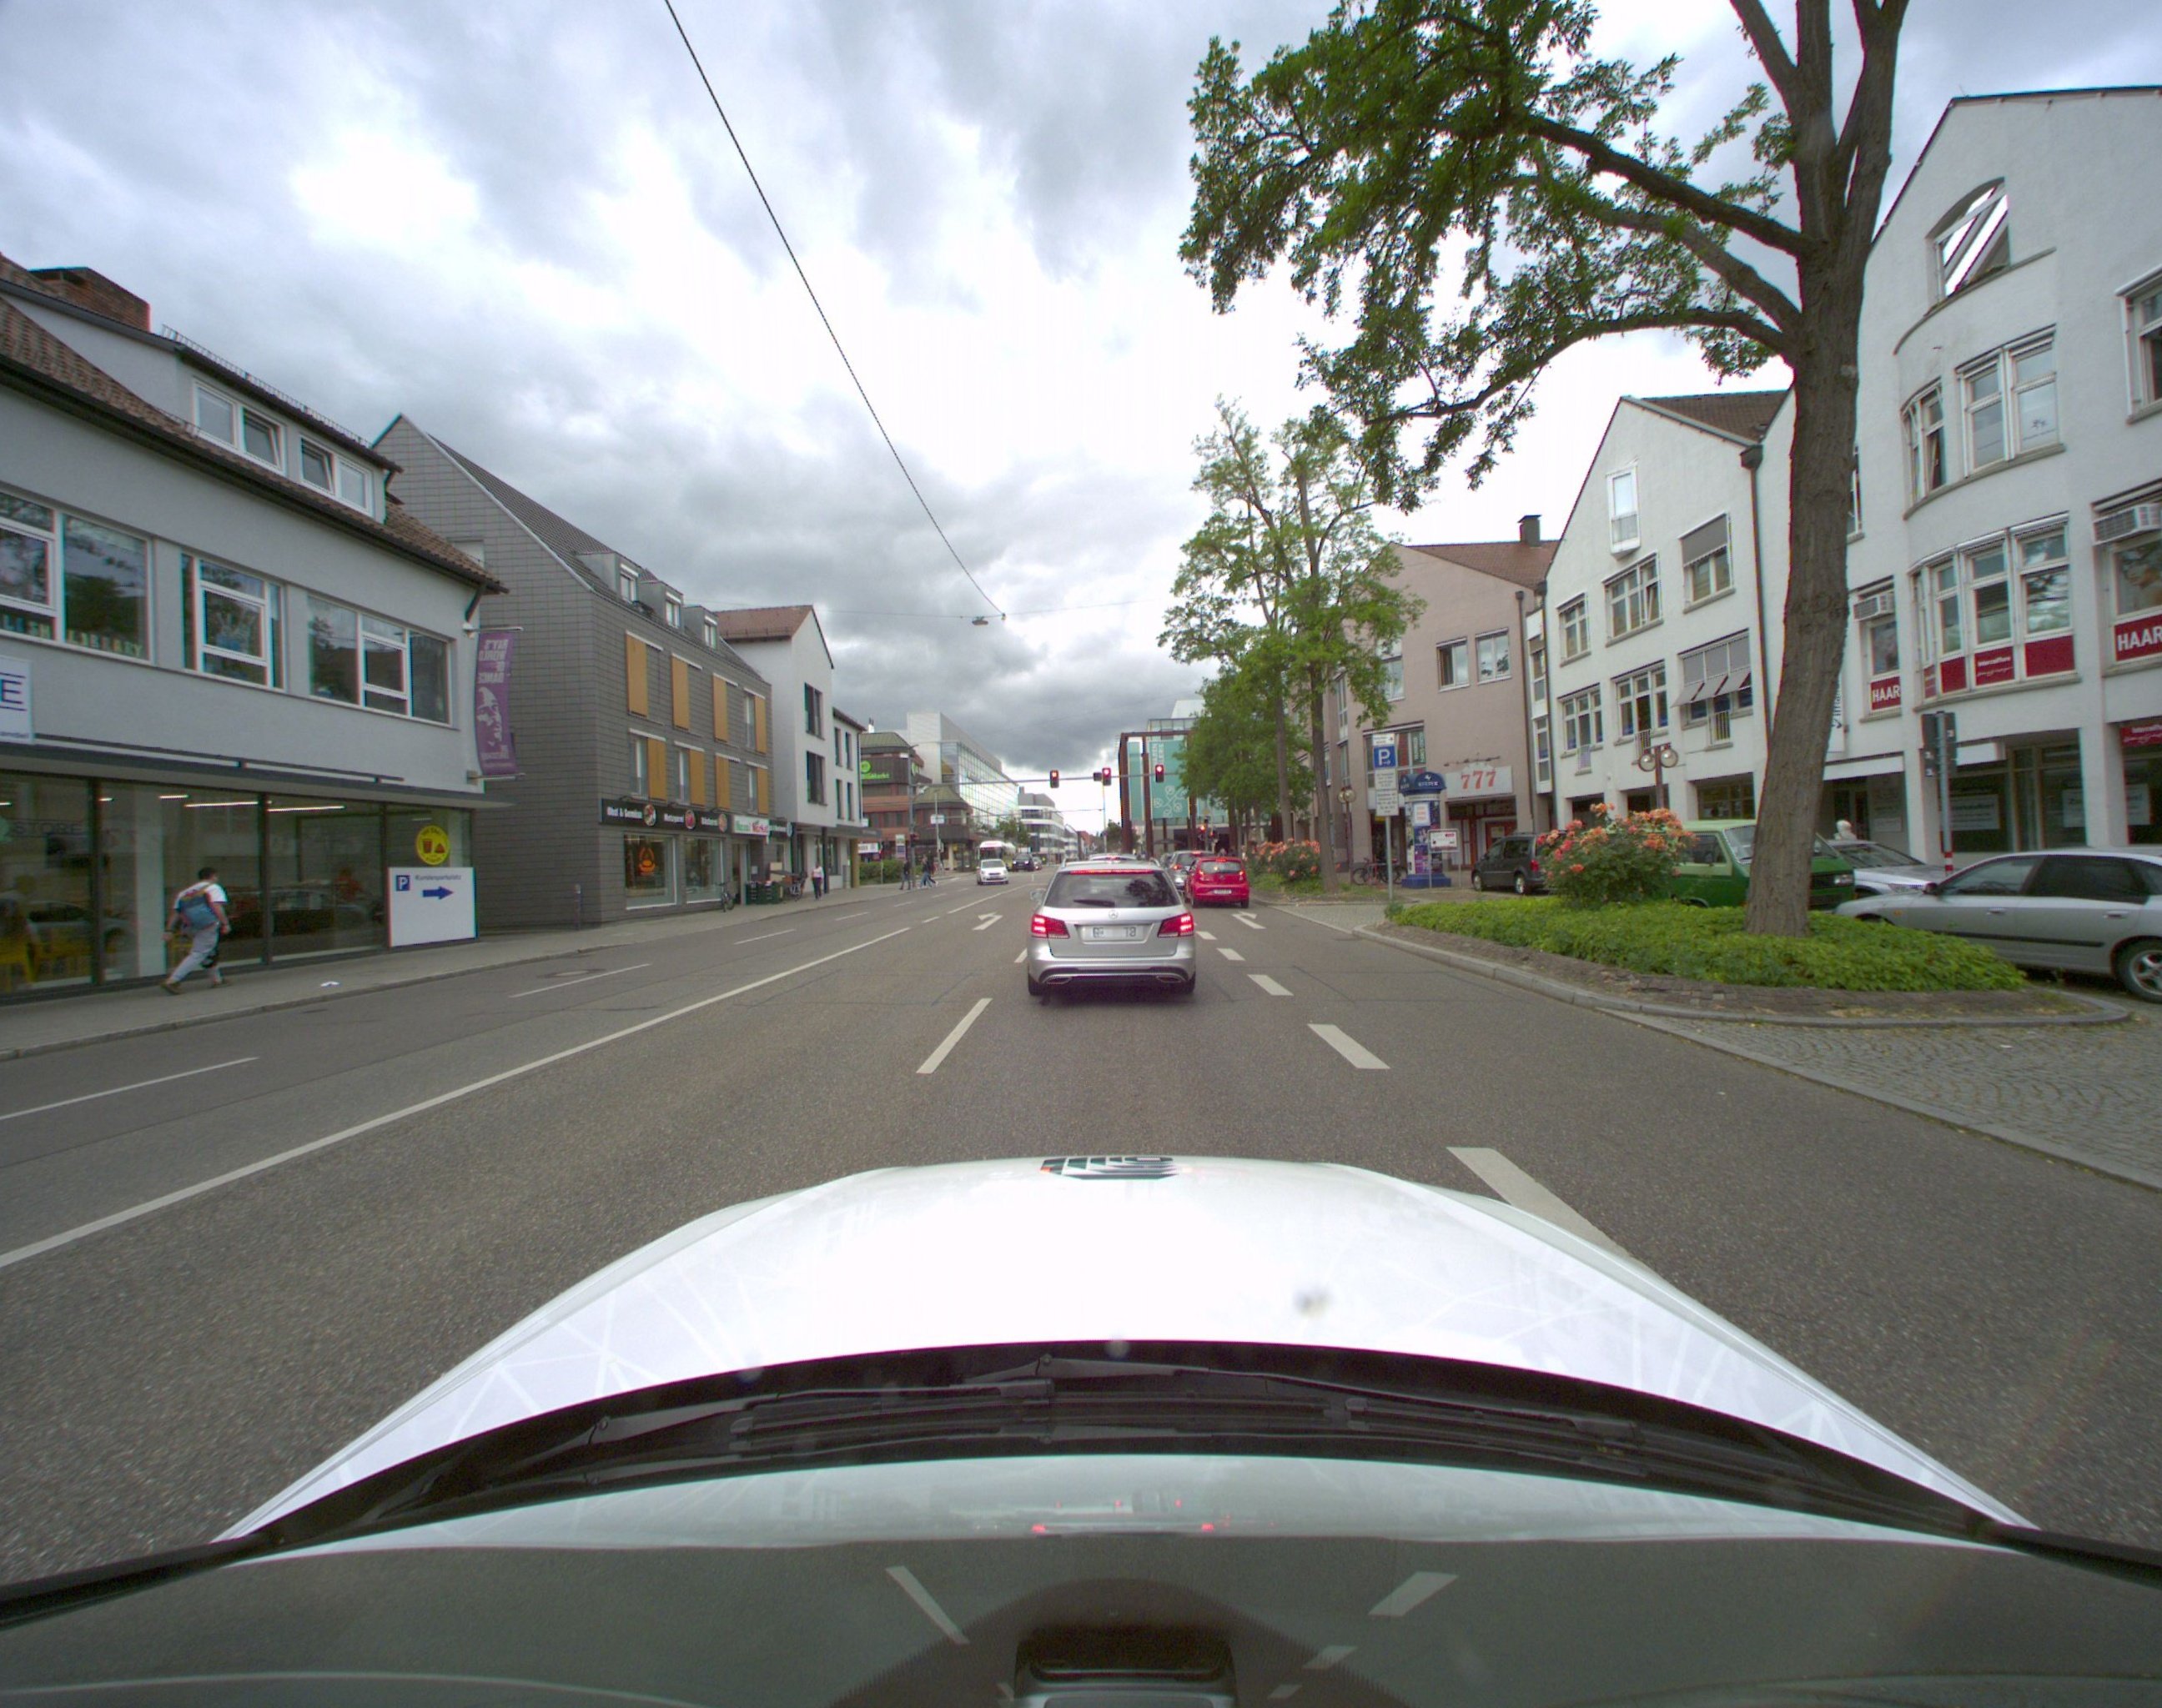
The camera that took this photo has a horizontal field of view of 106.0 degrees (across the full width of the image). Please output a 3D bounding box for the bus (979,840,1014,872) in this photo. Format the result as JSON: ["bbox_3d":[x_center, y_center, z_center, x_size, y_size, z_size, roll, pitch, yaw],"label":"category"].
[{"bbox_3d":[-9.035,0.190,88.129,2.677,3.261,8.655,-2,0,1],"label":"bus"}]

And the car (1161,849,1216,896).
[{"bbox_3d":[3.950,0.652,30.433,1.581,1.634,3.916,0,0,1],"label":"car"}]

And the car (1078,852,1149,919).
[{"bbox_3d":[0.825,0.739,20.720,1.633,1.527,3.395,-1,0,2],"label":"car"}]

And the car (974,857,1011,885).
[{"bbox_3d":[-5.176,0.991,47.341,1.577,1.488,3.445,-3,0,-15],"label":"car"}]

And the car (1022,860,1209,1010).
[{"bbox_3d":[0.422,0.797,10.084,1.808,1.448,4.372,0,0,2],"label":"car"}]

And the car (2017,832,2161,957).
[{"bbox_3d":[13.387,0.445,8.564,1.990,1.376,4.419,-3,0,0],"label":"car"}]

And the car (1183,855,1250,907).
[{"bbox_3d":[3.962,0.758,24.281,1.580,1.443,3.350,0,0,2],"label":"car"}]

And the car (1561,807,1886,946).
[{"bbox_3d":[10.554,0.329,13.962,1.874,1.876,4.605,-3,0,0],"label":"car"}]

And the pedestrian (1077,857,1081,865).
[{"bbox_3d":[-0.427,1.463,166.775,0.516,1.734,0.491,-2,0,11],"label":"pedestrian"}]

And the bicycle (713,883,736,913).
[{"bbox_3d":[-12.083,1.479,27.628,0.325,0.954,1.479,-2,0,-9],"label":"bicycle"}]

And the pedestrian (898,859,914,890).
[{"bbox_3d":[-9.444,1.094,44.058,0.648,1.650,0.560,-2,0,6],"label":"pedestrian"}]

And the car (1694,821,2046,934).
[{"bbox_3d":[13.212,0.345,14.126,1.790,1.542,4.394,-3,0,0],"label":"car"}]

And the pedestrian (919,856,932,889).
[{"bbox_3d":[-8.618,1.041,45.162,0.646,1.790,0.682,-2,0,-9],"label":"pedestrian"}]

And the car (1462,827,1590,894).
[{"bbox_3d":[13.647,0.194,25.240,1.633,1.831,3.964,-3,0,-2],"label":"car"}]

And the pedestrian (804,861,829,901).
[{"bbox_3d":[-11.127,1.126,34.246,0.725,1.610,0.753,-2,0,2],"label":"pedestrian"}]

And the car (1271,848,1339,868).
[{"bbox_3d":[17.140,0.303,62.511,4.695,1.369,1.965,-2,0,3],"label":"car"}]

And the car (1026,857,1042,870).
[{"bbox_3d":[-5.319,1.019,92.775,1.549,1.392,3.288,-2,0,1],"label":"car"}]

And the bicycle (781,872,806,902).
[{"bbox_3d":[-12.158,1.368,34.492,0.385,1.186,1.825,-2,0,-1],"label":"bicycle"}]

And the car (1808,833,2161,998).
[{"bbox_3d":[10.609,0.541,8.686,1.757,1.450,4.419,-2,0,0],"label":"car"}]

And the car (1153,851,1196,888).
[{"bbox_3d":[4.263,0.679,37.487,1.581,1.595,3.868,0,0,1],"label":"car"}]

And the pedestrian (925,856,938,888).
[{"bbox_3d":[-8.547,1.025,46.460,0.644,1.775,0.569,-2,0,-9],"label":"pedestrian"}]

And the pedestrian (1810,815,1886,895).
[{"bbox_3d":[16.755,0.030,17.808,0.786,1.659,0.819,-4,0,2],"label":"pedestrian"}]

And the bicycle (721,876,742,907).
[{"bbox_3d":[-13.681,1.459,31.871,0.386,1.127,1.286,-2,0,-8],"label":"bicycle"}]

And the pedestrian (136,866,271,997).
[{"bbox_3d":[-12.113,1.029,11.280,0.751,1.705,0.981,1,0,2],"label":"pedestrian"}]

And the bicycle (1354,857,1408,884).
[{"bbox_3d":[11.781,0.657,32.014,1.891,0.997,0.468,-2,0,6],"label":"bicycle"}]

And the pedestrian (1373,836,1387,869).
[{"bbox_3d":[16.663,-0.074,45.365,0.644,1.834,0.614,-2,0,24],"label":"pedestrian"}]

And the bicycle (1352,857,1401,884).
[{"bbox_3d":[11.812,0.652,32.560,1.759,0.997,0.447,-2,0,6],"label":"bicycle"}]

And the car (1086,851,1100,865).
[{"bbox_3d":[1.808,0.563,122.530,1.986,1.949,4.951,-2,0,1],"label":"car"}]

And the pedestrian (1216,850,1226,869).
[{"bbox_3d":[12.520,0.465,72.708,0.652,1.650,0.557,-2,0,-13],"label":"pedestrian"}]

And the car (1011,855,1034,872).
[{"bbox_3d":[-6.064,0.981,85.240,1.986,1.706,4.065,-2,0,1],"label":"car"}]
